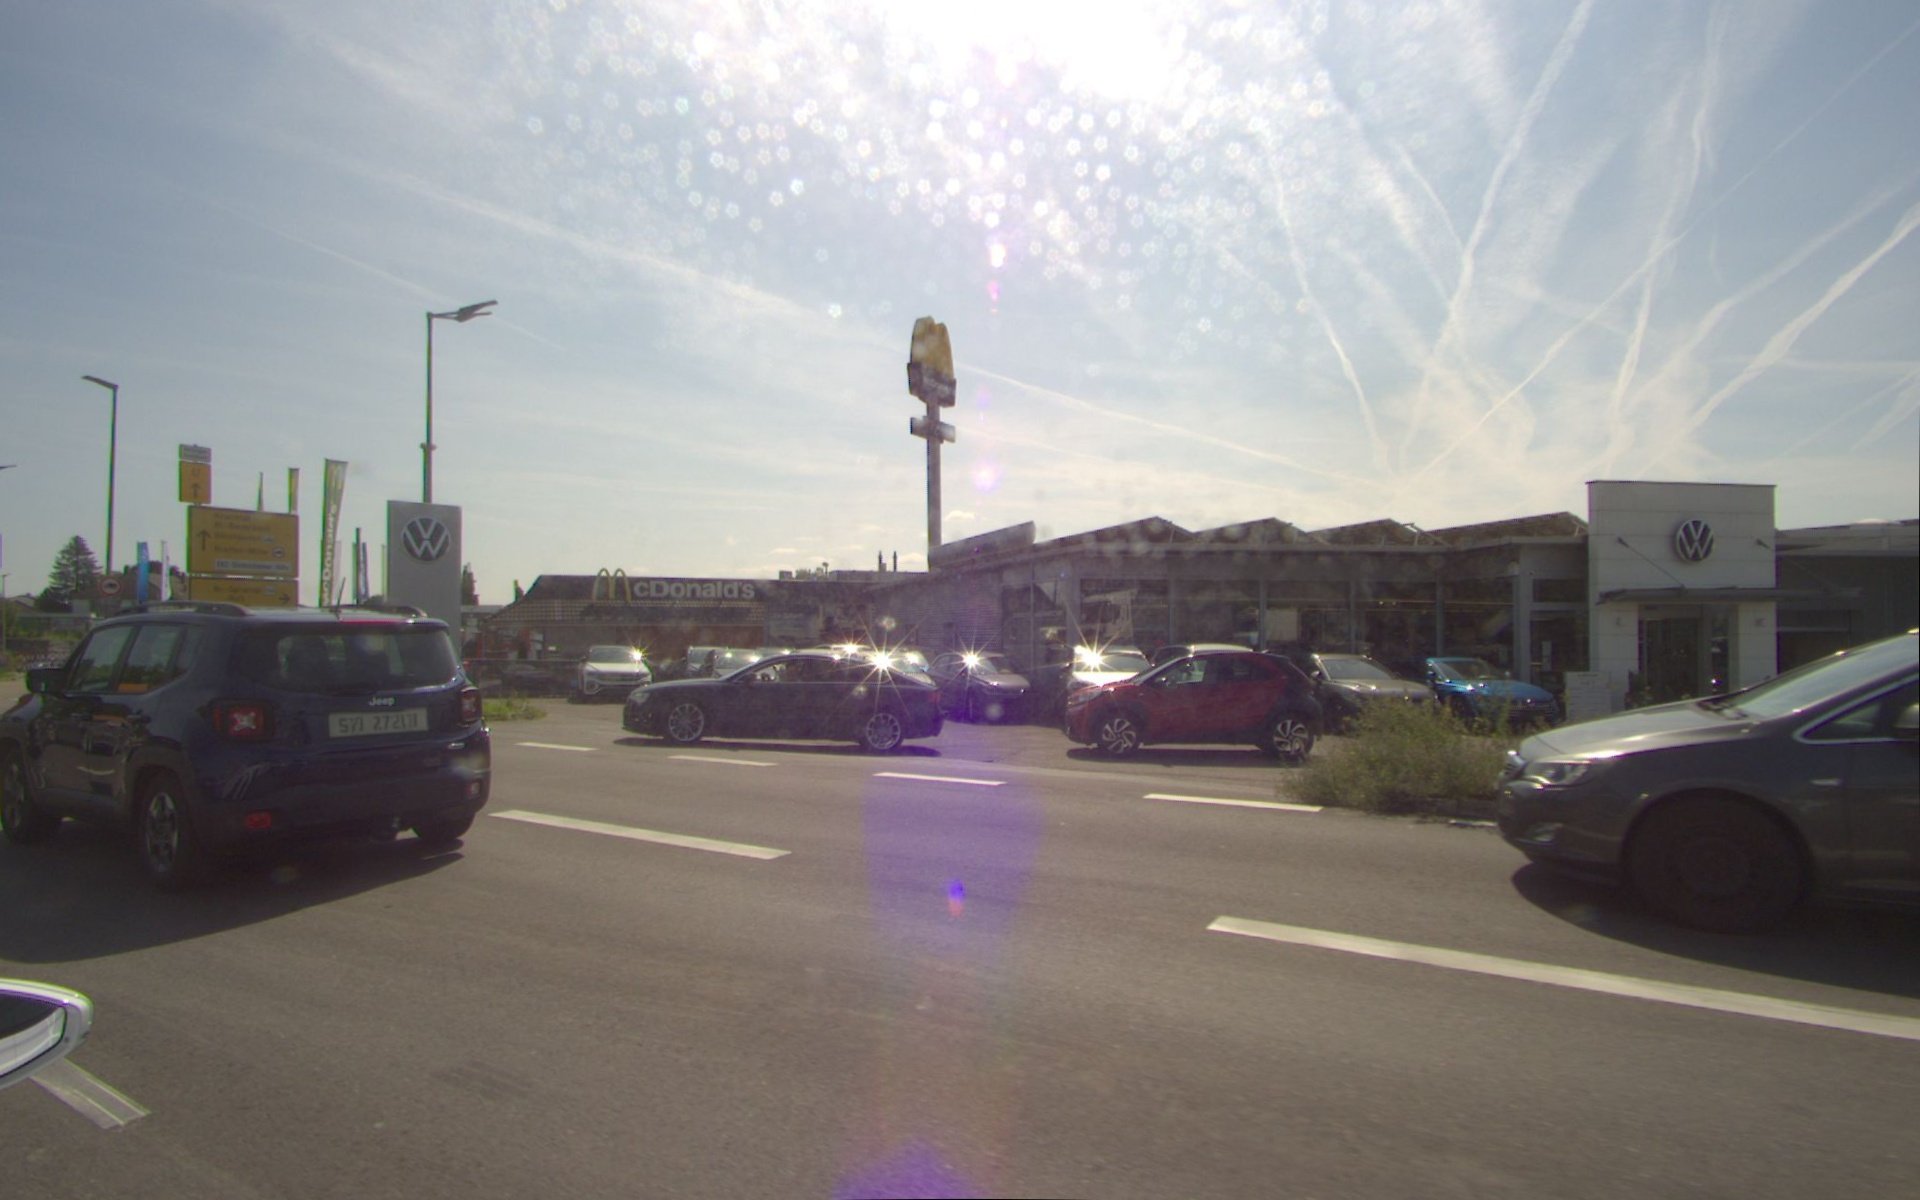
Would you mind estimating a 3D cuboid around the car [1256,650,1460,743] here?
[{"bbox_3d":[7.619,1.787,19.647,1.858,1.476,4.209,0,-1,-8],"label":"car"}]

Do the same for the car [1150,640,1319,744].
[{"bbox_3d":[5.150,1.668,19.379,1.884,1.692,4.000,0,-1,-5],"label":"car"}]

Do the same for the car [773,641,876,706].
[{"bbox_3d":[-3.676,1.888,26.556,1.767,1.469,4.143,0,-1,-22],"label":"car"}]

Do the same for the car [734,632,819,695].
[{"bbox_3d":[-5.626,1.854,30.386,1.747,1.692,4.158,0,-1,-22],"label":"car"}]

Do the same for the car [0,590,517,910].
[{"bbox_3d":[-5.116,0.826,7.056,3.943,1.676,1.767,-1,-1,32],"label":"car"}]

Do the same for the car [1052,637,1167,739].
[{"bbox_3d":[2.790,1.602,19.444,1.741,1.692,4.026,0,-1,2],"label":"car"}]

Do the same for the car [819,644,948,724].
[{"bbox_3d":[-1.837,1.807,22.696,1.720,1.511,4.252,0,-1,-22],"label":"car"}]

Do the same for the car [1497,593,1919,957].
[{"bbox_3d":[5.088,0.746,4.786,4.384,1.539,1.991,-1,-1,31],"label":"car"}]

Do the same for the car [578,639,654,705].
[{"bbox_3d":[-9.804,1.961,28.331,1.830,1.597,4.221,0,-1,-22],"label":"car"}]

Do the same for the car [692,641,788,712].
[{"bbox_3d":[-5.650,1.861,25.365,1.747,1.552,4.078,0,-1,-22],"label":"car"}]

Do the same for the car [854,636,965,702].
[{"bbox_3d":[-1.419,1.764,26.577,1.747,1.538,3.949,0,-1,-22],"label":"car"}]

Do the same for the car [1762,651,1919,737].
[{"bbox_3d":[20.673,2.042,22.086,1.744,1.676,4.545,0,-1,-14],"label":"car"}]

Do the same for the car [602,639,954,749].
[{"bbox_3d":[-2.626,1.422,14.786,4.729,1.347,1.967,3,-6,-13],"label":"car"}]

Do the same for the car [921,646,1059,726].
[{"bbox_3d":[0.567,1.839,22.385,1.721,1.495,3.784,0,-1,-22],"label":"car"}]

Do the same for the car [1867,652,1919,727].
[{"bbox_3d":[23.007,2.054,22.121,1.744,1.676,4.166,0,-1,-14],"label":"car"}]

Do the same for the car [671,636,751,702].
[{"bbox_3d":[-7.312,1.948,29.188,1.747,1.692,3.898,0,-1,-22],"label":"car"}]

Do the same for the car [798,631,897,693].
[{"bbox_3d":[-3.605,1.858,31.275,1.881,1.692,4.804,0,-1,-22],"label":"car"}]

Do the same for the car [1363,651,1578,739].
[{"bbox_3d":[10.069,1.817,20.149,1.789,1.428,4.112,0,-1,-8],"label":"car"}]

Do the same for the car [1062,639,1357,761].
[{"bbox_3d":[3.528,1.429,14.809,3.998,1.675,1.777,0,-3,7],"label":"car"}]
